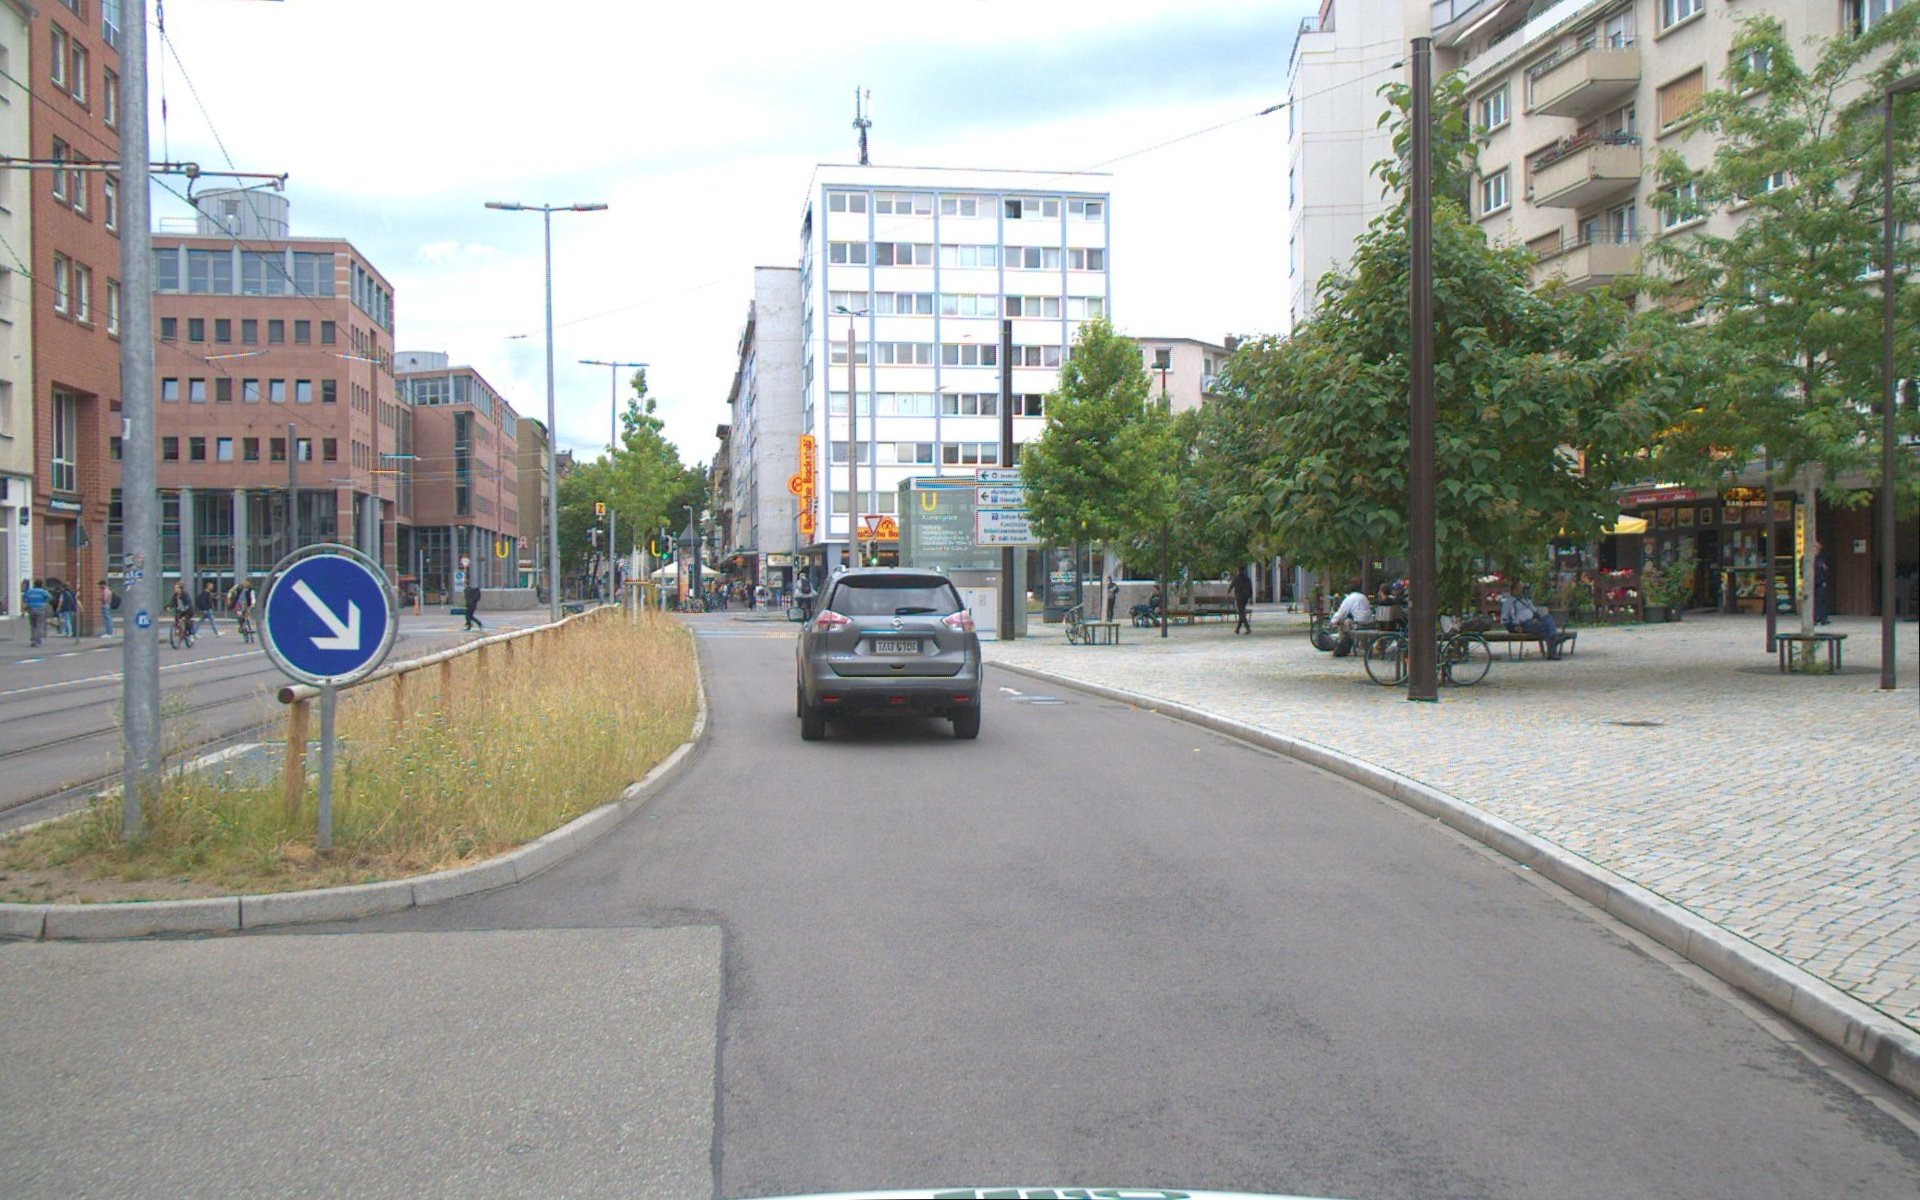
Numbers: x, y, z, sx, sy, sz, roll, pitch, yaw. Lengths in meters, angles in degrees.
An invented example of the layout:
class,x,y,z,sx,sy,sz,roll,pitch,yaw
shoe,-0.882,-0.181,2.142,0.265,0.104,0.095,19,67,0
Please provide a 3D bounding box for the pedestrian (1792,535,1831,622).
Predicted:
class,x,y,z,sx,sy,sz,roll,pitch,yaw
pedestrian,19.152,-0.481,37.182,0.758,1.918,0.851,0,0,28

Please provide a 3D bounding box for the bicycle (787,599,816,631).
class,x,y,z,sx,sy,sz,roll,pitch,yaw
bicycle,-5.460,0.506,56.892,0.884,1.063,3.272,0,0,-7

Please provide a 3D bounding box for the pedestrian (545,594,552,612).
class,x,y,z,sx,sy,sz,roll,pitch,yaw
pedestrian,-38.703,0.270,155.529,0.591,1.744,0.652,0,0,-17

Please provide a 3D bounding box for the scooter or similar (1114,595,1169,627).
class,x,y,z,sx,sy,sz,roll,pitch,yaw
scooter or similar,5.746,0.348,52.348,1.556,0.965,0.724,-2,0,29

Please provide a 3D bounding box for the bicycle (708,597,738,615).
class,x,y,z,sx,sy,sz,roll,pitch,yaw
bicycle,-14.060,0.340,98.097,1.672,1.084,0.434,0,0,-23

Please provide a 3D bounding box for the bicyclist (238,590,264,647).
class,x,y,z,sx,sy,sz,roll,pitch,yaw
bicyclist,-19.981,0.509,46.592,0.482,1.567,0.810,-1,0,-11

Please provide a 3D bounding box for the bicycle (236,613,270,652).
class,x,y,z,sx,sy,sz,roll,pitch,yaw
bicycle,-20.023,0.901,46.846,0.467,1.039,1.907,-1,0,-11

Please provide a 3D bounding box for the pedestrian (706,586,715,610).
class,x,y,z,sx,sy,sz,roll,pitch,yaw
pedestrian,-18.108,-0.124,120.043,0.631,1.734,0.558,0,0,-9

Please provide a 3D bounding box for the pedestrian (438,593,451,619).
class,x,y,z,sx,sy,sz,roll,pitch,yaw
pedestrian,-37.355,0.418,119.909,0.685,1.874,0.735,0,0,3

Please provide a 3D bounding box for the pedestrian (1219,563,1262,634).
class,x,y,z,sx,sy,sz,roll,pitch,yaw
pedestrian,7.436,-0.039,43.841,0.701,1.833,1.075,-3,0,-11

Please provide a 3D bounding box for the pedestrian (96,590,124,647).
class,x,y,z,sx,sy,sz,roll,pitch,yaw
pedestrian,-25.903,0.576,50.422,0.559,1.713,0.796,1,-1,-14

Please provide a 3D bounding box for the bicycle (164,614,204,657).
class,x,y,z,sx,sy,sz,roll,pitch,yaw
bicycle,-19.920,0.902,42.485,0.470,1.039,1.907,-1,0,-11

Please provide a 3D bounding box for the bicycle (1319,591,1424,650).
class,x,y,z,sx,sy,sz,roll,pitch,yaw
bicycle,8.302,0.411,33.432,1.991,1.130,0.478,-2,0,6

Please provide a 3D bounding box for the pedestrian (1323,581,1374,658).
class,x,y,z,sx,sy,sz,roll,pitch,yaw
pedestrian,7.183,0.355,30.560,0.621,1.390,0.681,0,0,-29

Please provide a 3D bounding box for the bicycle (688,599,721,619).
class,x,y,z,sx,sy,sz,roll,pitch,yaw
bicycle,-15.118,0.515,97.896,1.843,1.192,0.527,0,0,-24

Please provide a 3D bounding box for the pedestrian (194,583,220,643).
class,x,y,z,sx,sy,sz,roll,pitch,yaw
pedestrian,-24.540,0.425,53.926,0.599,1.923,0.797,0,-1,-12

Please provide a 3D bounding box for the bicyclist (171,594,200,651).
class,x,y,z,sx,sy,sz,roll,pitch,yaw
bicyclist,-19.942,0.569,42.575,0.470,1.431,0.810,-1,0,-11

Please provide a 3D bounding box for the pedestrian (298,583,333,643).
class,x,y,z,sx,sy,sz,roll,pitch,yaw
pedestrian,-21.025,0.427,53.972,0.881,1.923,0.797,1,-1,-12

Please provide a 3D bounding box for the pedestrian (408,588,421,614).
class,x,y,z,sx,sy,sz,roll,pitch,yaw
pedestrian,-39.717,0.101,120.438,0.726,1.874,0.694,0,0,-35

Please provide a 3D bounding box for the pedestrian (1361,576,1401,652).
class,x,y,z,sx,sy,sz,roll,pitch,yaw
pedestrian,7.863,0.252,30.887,0.614,1.390,0.920,0,0,7

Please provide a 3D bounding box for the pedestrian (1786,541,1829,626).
class,x,y,z,sx,sy,sz,roll,pitch,yaw
pedestrian,18.314,-0.360,35.738,0.758,1.782,0.717,-2,1,28

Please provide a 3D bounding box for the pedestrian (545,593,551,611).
class,x,y,z,sx,sy,sz,roll,pitch,yaw
pedestrian,-41.109,0.206,165.095,0.591,1.744,0.652,0,0,-17

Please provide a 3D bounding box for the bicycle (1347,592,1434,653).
class,x,y,z,sx,sy,sz,roll,pitch,yaw
bicycle,8.418,0.440,32.350,1.566,1.130,0.478,-2,0,5

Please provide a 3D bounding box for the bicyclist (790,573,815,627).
class,x,y,z,sx,sy,sz,roll,pitch,yaw
bicyclist,-5.404,-0.003,56.761,0.818,1.844,0.876,0,0,-7

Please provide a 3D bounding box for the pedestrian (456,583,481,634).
class,x,y,z,sx,sy,sz,roll,pitch,yaw
pedestrian,-16.764,0.283,56.429,0.731,1.713,0.796,1,-1,-14

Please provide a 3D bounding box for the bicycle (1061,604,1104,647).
class,x,y,z,sx,sy,sz,roll,pitch,yaw
bicycle,3.007,0.617,40.476,0.644,0.995,1.755,-1,0,18

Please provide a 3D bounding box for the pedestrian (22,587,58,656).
class,x,y,z,sx,sy,sz,roll,pitch,yaw
pedestrian,-23.150,0.532,41.639,0.650,1.716,0.719,-1,-1,-19

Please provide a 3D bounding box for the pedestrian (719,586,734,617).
class,x,y,z,sx,sy,sz,roll,pitch,yaw
pedestrian,-13.799,0.084,97.674,0.722,1.776,0.658,0,0,-22

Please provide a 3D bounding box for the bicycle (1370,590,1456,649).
class,x,y,z,sx,sy,sz,roll,pitch,yaw
bicycle,8.994,0.384,32.857,1.566,1.130,0.478,-2,0,5

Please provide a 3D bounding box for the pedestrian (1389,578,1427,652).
class,x,y,z,sx,sy,sz,roll,pitch,yaw
pedestrian,8.528,0.279,31.544,0.531,1.390,1.281,0,0,8

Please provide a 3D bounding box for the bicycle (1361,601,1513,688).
class,x,y,z,sx,sy,sz,roll,pitch,yaw
bicycle,6.483,0.599,22.532,1.874,1.142,0.645,0,0,1

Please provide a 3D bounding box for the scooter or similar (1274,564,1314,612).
class,x,y,z,sx,sy,sz,roll,pitch,yaw
scooter or similar,13.058,-0.473,64.752,1.062,1.838,2.273,-1,1,-1

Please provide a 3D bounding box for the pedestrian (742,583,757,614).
class,x,y,z,sx,sy,sz,roll,pitch,yaw
pedestrian,-12.530,-0.086,98.353,0.701,1.864,1.012,0,0,-17

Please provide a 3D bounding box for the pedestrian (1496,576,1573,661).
class,x,y,z,sx,sy,sz,roll,pitch,yaw
pedestrian,9.642,0.306,27.797,0.616,1.390,1.406,0,0,-11

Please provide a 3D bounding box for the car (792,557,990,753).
class,x,y,z,sx,sy,sz,roll,pitch,yaw
car,-0.806,0.491,17.857,1.826,1.805,4.563,-1,1,-4

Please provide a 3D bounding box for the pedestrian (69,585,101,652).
class,x,y,z,sx,sy,sz,roll,pitch,yaw
pedestrian,-22.839,0.480,43.185,0.651,1.716,0.718,-1,-1,-22

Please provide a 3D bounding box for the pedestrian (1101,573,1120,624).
class,x,y,z,sx,sy,sz,roll,pitch,yaw
pedestrian,5.337,-0.060,58.713,0.657,1.792,0.642,0,0,5

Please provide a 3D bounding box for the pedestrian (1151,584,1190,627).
class,x,y,z,sx,sy,sz,roll,pitch,yaw
pedestrian,6.628,0.164,52.109,1.024,1.319,0.732,-2,0,-5

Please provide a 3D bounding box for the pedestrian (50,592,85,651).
class,x,y,z,sx,sy,sz,roll,pitch,yaw
pedestrian,-26.652,0.643,49.403,0.857,1.716,0.657,-1,-1,-25
